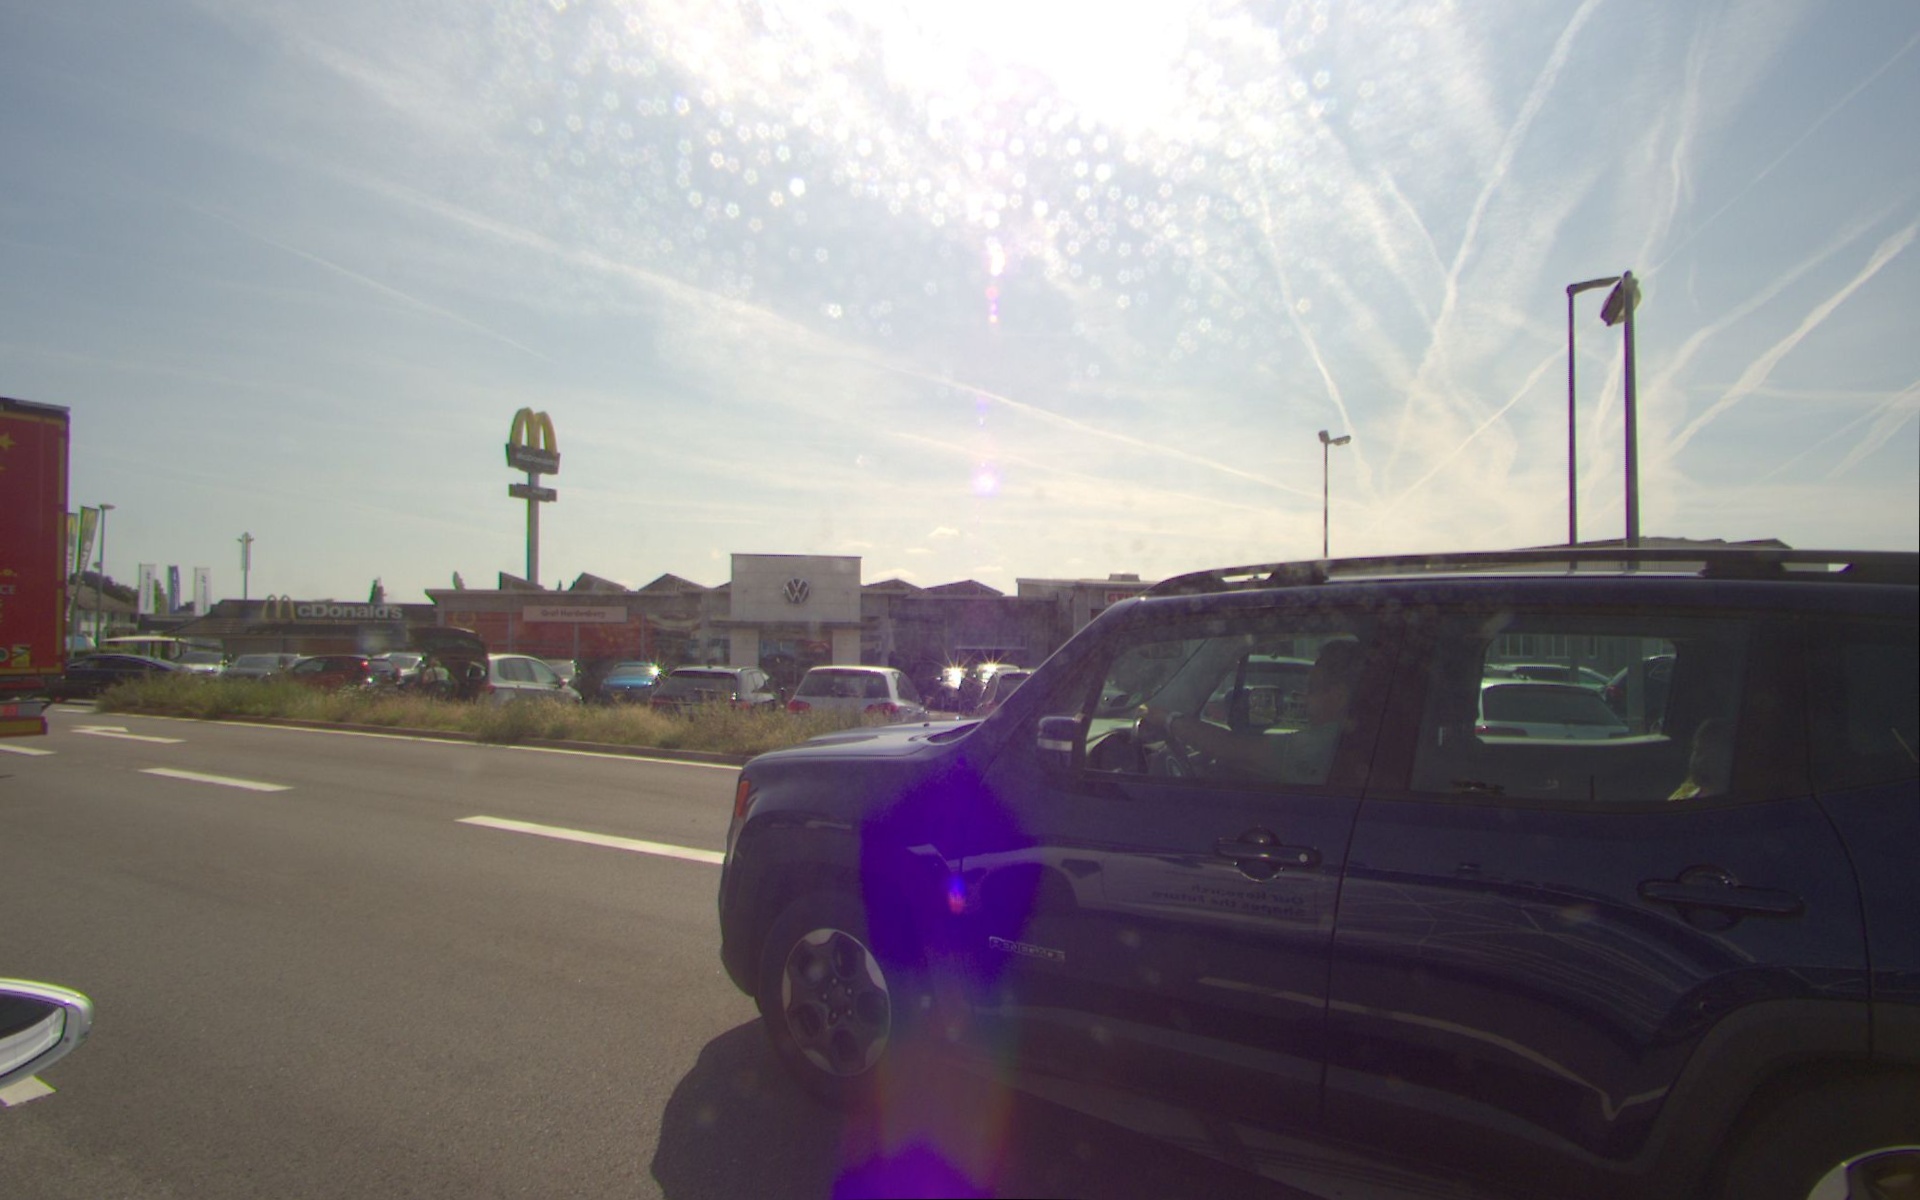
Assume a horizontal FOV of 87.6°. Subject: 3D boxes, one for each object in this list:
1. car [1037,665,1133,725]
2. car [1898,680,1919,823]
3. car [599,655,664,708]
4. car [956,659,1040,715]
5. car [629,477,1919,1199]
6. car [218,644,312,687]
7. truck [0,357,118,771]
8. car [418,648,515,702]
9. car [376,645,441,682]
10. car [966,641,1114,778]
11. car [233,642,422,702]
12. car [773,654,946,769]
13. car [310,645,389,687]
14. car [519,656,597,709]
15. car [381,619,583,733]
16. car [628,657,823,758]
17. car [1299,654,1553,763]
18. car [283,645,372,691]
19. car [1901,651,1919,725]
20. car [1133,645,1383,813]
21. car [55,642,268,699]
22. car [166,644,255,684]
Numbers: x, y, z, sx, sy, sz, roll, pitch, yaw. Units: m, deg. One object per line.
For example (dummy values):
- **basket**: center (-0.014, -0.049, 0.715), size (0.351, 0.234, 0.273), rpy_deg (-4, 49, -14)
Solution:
- **car**: center (3.685, 2.798, 30.163), size (1.706, 1.555, 4.036), rpy_deg (1, -2, -11)
- **car**: center (10.431, 1.448, 8.047), size (1.705, 1.420, 4.350), rpy_deg (0, -2, 0)
- **car**: center (-10.670, 2.607, 32.717), size (1.671, 1.577, 3.783), rpy_deg (1, -2, -13)
- **car**: center (1.071, 2.574, 30.021), size (1.706, 1.554, 3.762), rpy_deg (1, -4, -11)
- **car**: center (0.977, 0.675, 3.232), size (3.943, 1.707, 1.815), rpy_deg (-1, -1, 32)
- **car**: center (-26.163, 2.443, 37.845), size (1.737, 1.550, 3.626), rpy_deg (1, -2, -14)
- **truck**: center (-17.231, -0.290, 14.327), size (16.344, 4.324, 2.953), rpy_deg (-1, -2, 32)
- **car**: center (-15.685, 2.350, 32.026), size (1.964, 1.550, 3.996), rpy_deg (1, -2, -14)
- **car**: center (-24.467, 2.803, 44.507), size (1.656, 1.550, 3.593), rpy_deg (1, -2, -14)
- **car**: center (0.935, 1.350, 13.576), size (1.705, 1.555, 4.040), rpy_deg (0, -2, 0)
- **car**: center (-17.276, 1.947, 27.478), size (3.922, 1.550, 2.001), rpy_deg (1, -2, 3)
- **car**: center (-1.359, 1.558, 15.055), size (1.670, 1.417, 3.847), rpy_deg (0, -2, 9)
- **car**: center (-24.220, 2.590, 39.854), size (1.656, 1.550, 3.593), rpy_deg (1, -2, -14)
- **car**: center (-12.941, 2.623, 32.460), size (1.771, 1.550, 4.223), rpy_deg (1, -2, -14)
- **car**: center (-8.964, 1.380, 19.171), size (1.669, 1.945, 3.847), rpy_deg (0, -2, 7)
- **car**: center (-3.790, 1.709, 16.883), size (1.671, 1.417, 3.845), rpy_deg (0, -2, 13)
- **car**: center (8.831, 1.966, 19.060), size (4.173, 1.777, 1.898), rpy_deg (-1, -2, 33)
- **car**: center (-22.570, 2.398, 35.878), size (1.656, 1.550, 3.593), rpy_deg (1, -2, -14)
- **car**: center (25.029, 2.121, 23.309), size (1.882, 1.777, 4.209), rpy_deg (2, -3, -32)
- **car**: center (3.187, 1.317, 11.564), size (1.705, 1.555, 4.040), rpy_deg (0, -2, 0)
- **car**: center (-21.734, 1.922, 27.453), size (4.126, 1.473, 1.844), rpy_deg (1, -2, -16)
- **car**: center (-30.297, 2.565, 40.594), size (1.733, 1.550, 3.262), rpy_deg (1, -2, -15)
